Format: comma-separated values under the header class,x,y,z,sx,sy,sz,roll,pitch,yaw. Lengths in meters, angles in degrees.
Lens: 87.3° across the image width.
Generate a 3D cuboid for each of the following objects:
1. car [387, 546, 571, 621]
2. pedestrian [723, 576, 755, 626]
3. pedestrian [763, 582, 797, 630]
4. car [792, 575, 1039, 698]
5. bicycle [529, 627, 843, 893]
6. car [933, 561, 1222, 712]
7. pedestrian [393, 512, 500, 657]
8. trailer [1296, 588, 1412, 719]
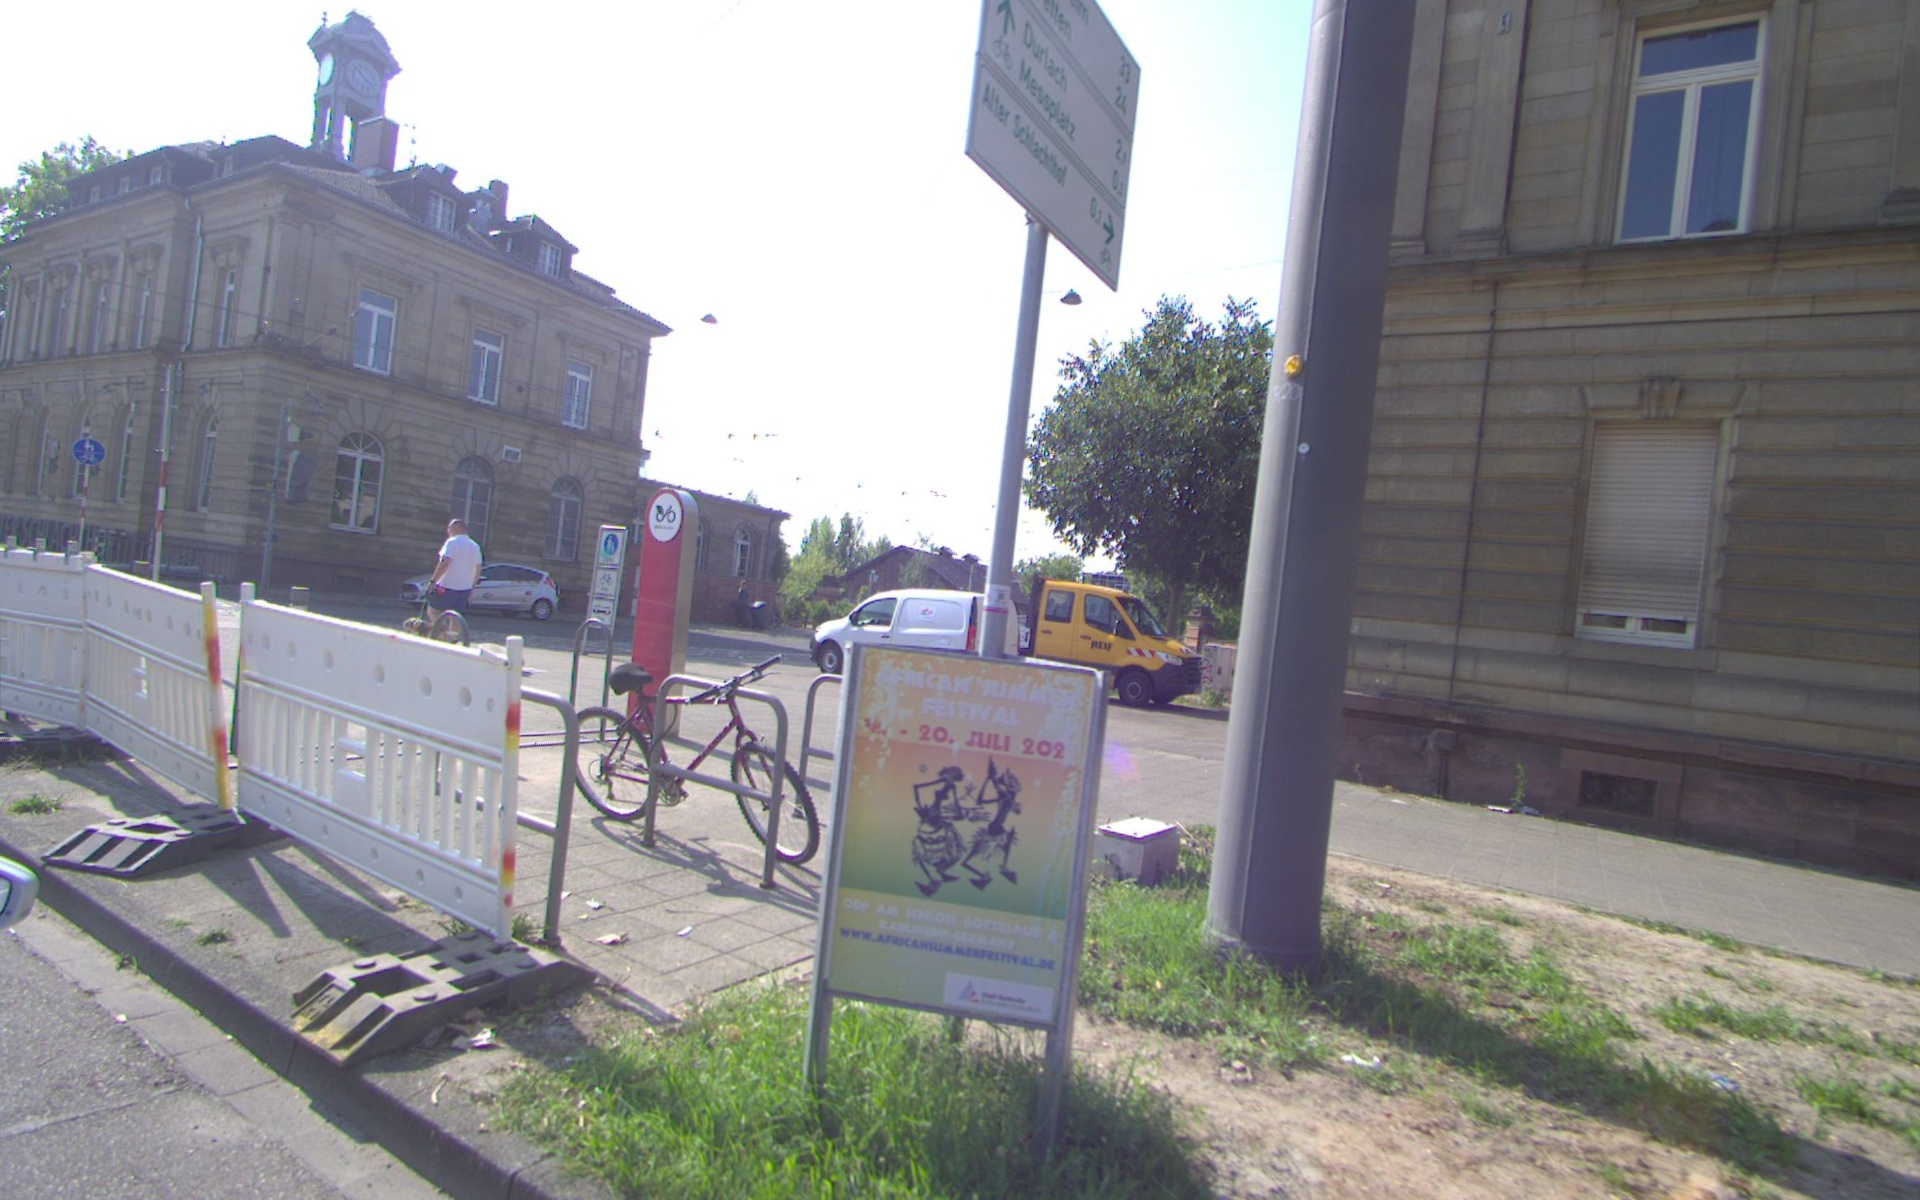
class,x,y,z,sx,sy,sz,roll,pitch,yaw
car,-12.623,-0.390,26.589,1.640,1.556,3.997,6,0,37
pedestrian,-8.828,0.042,40.221,0.857,1.887,0.668,6,0,40
pedestrian,-7.616,0.257,42.508,1.019,1.887,0.671,6,0,18
car,-0.871,0.644,18.832,4.156,1.805,1.905,6,0,32
bicycle,-1.397,0.726,5.023,1.545,1.019,0.538,6,1,32
car,2.440,0.716,21.181,5.392,2.452,2.263,6,-1,27
pedestrian,-6.654,-0.185,13.063,0.659,1.758,0.868,6,0,28
trailer,10.847,1.525,27.502,2.469,3.082,4.122,5,-3,25
